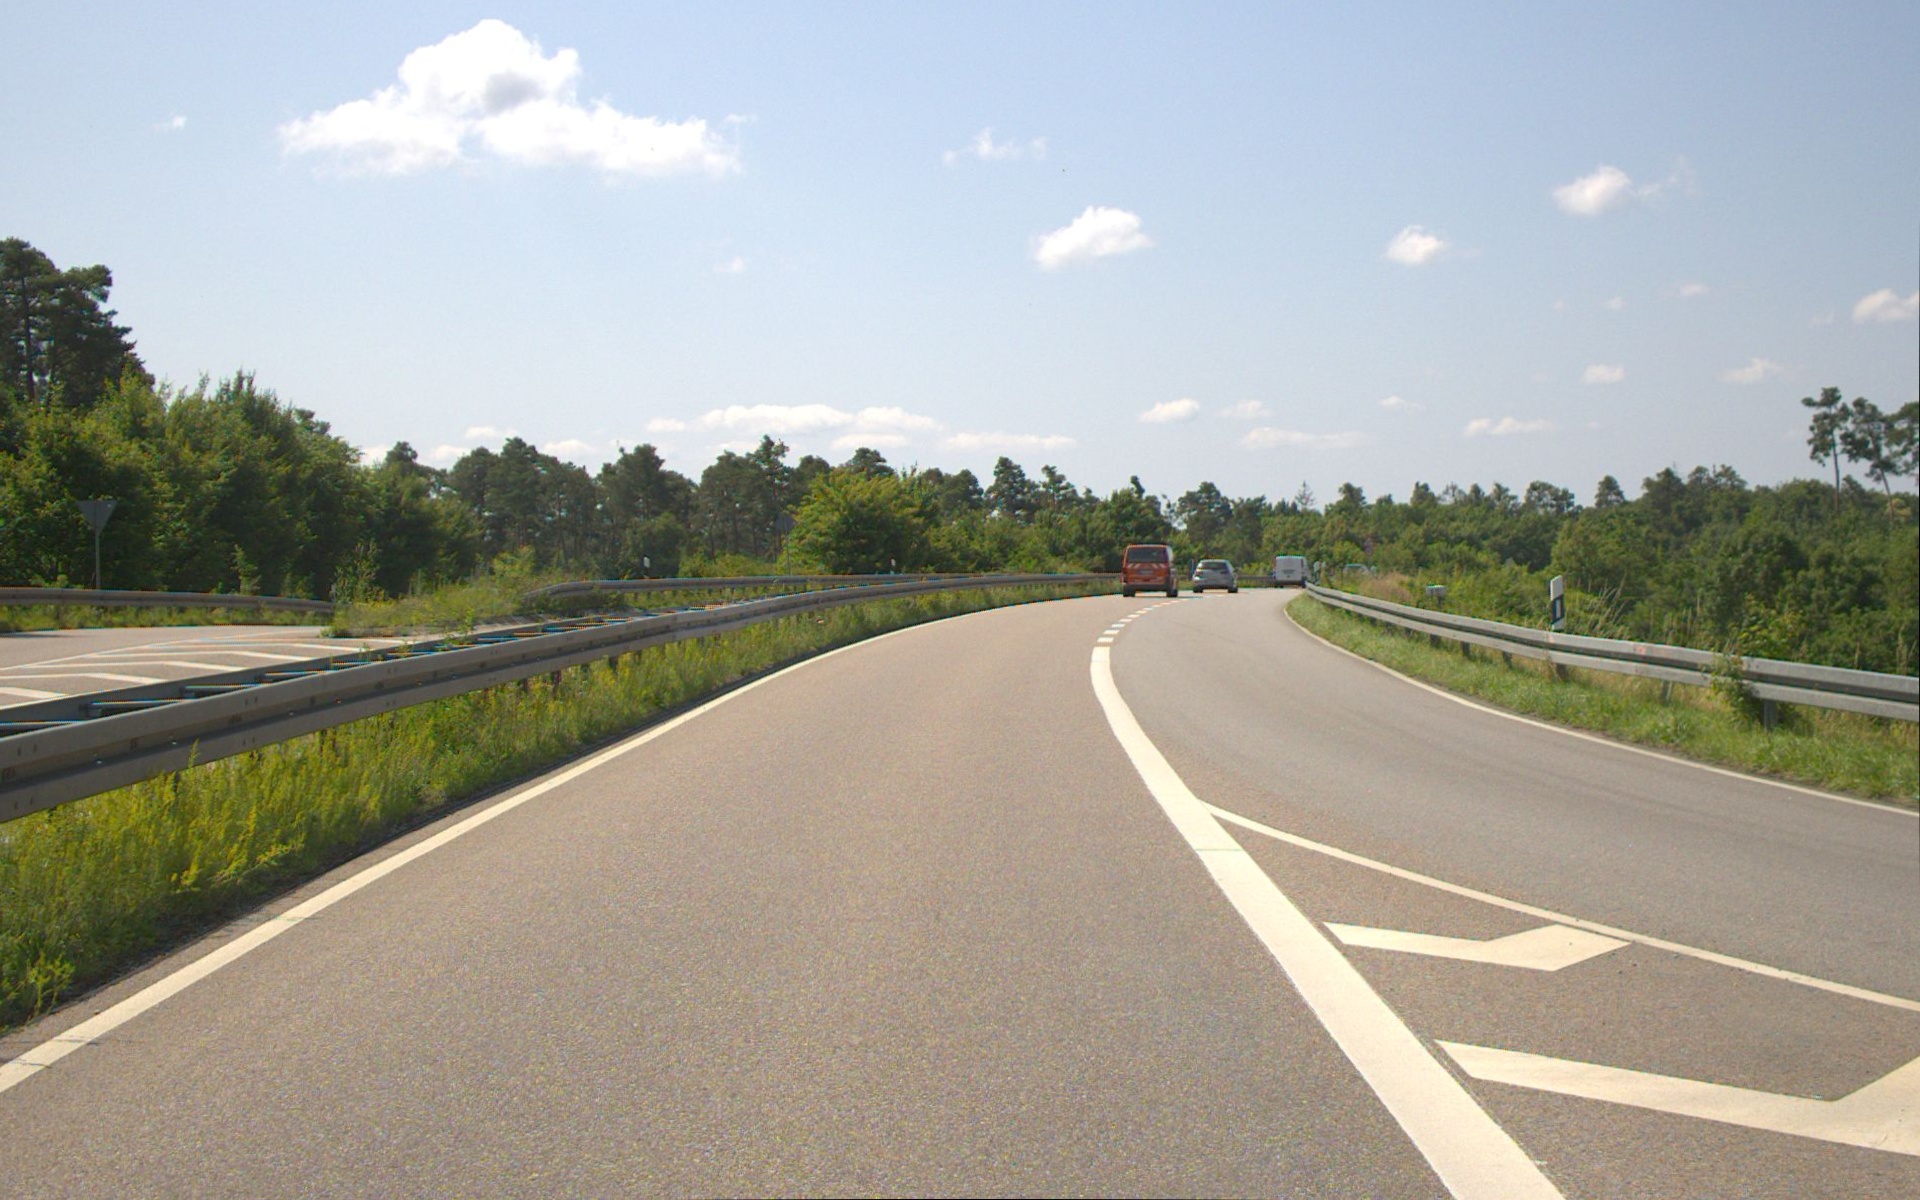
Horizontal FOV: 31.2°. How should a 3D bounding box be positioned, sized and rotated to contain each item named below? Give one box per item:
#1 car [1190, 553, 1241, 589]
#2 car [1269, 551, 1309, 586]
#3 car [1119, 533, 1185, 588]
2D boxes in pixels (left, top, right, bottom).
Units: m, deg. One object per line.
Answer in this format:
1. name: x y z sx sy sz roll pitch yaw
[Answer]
1. car: 11.294 -1.257 151.517 2.008 1.489 4.237 1 0 7
2. car: 19.396 -1.843 202.530 2.185 1.948 5.802 1 0 7
3. car: 7.255 -1.461 129.320 2.078 1.986 5.110 1 0 7
